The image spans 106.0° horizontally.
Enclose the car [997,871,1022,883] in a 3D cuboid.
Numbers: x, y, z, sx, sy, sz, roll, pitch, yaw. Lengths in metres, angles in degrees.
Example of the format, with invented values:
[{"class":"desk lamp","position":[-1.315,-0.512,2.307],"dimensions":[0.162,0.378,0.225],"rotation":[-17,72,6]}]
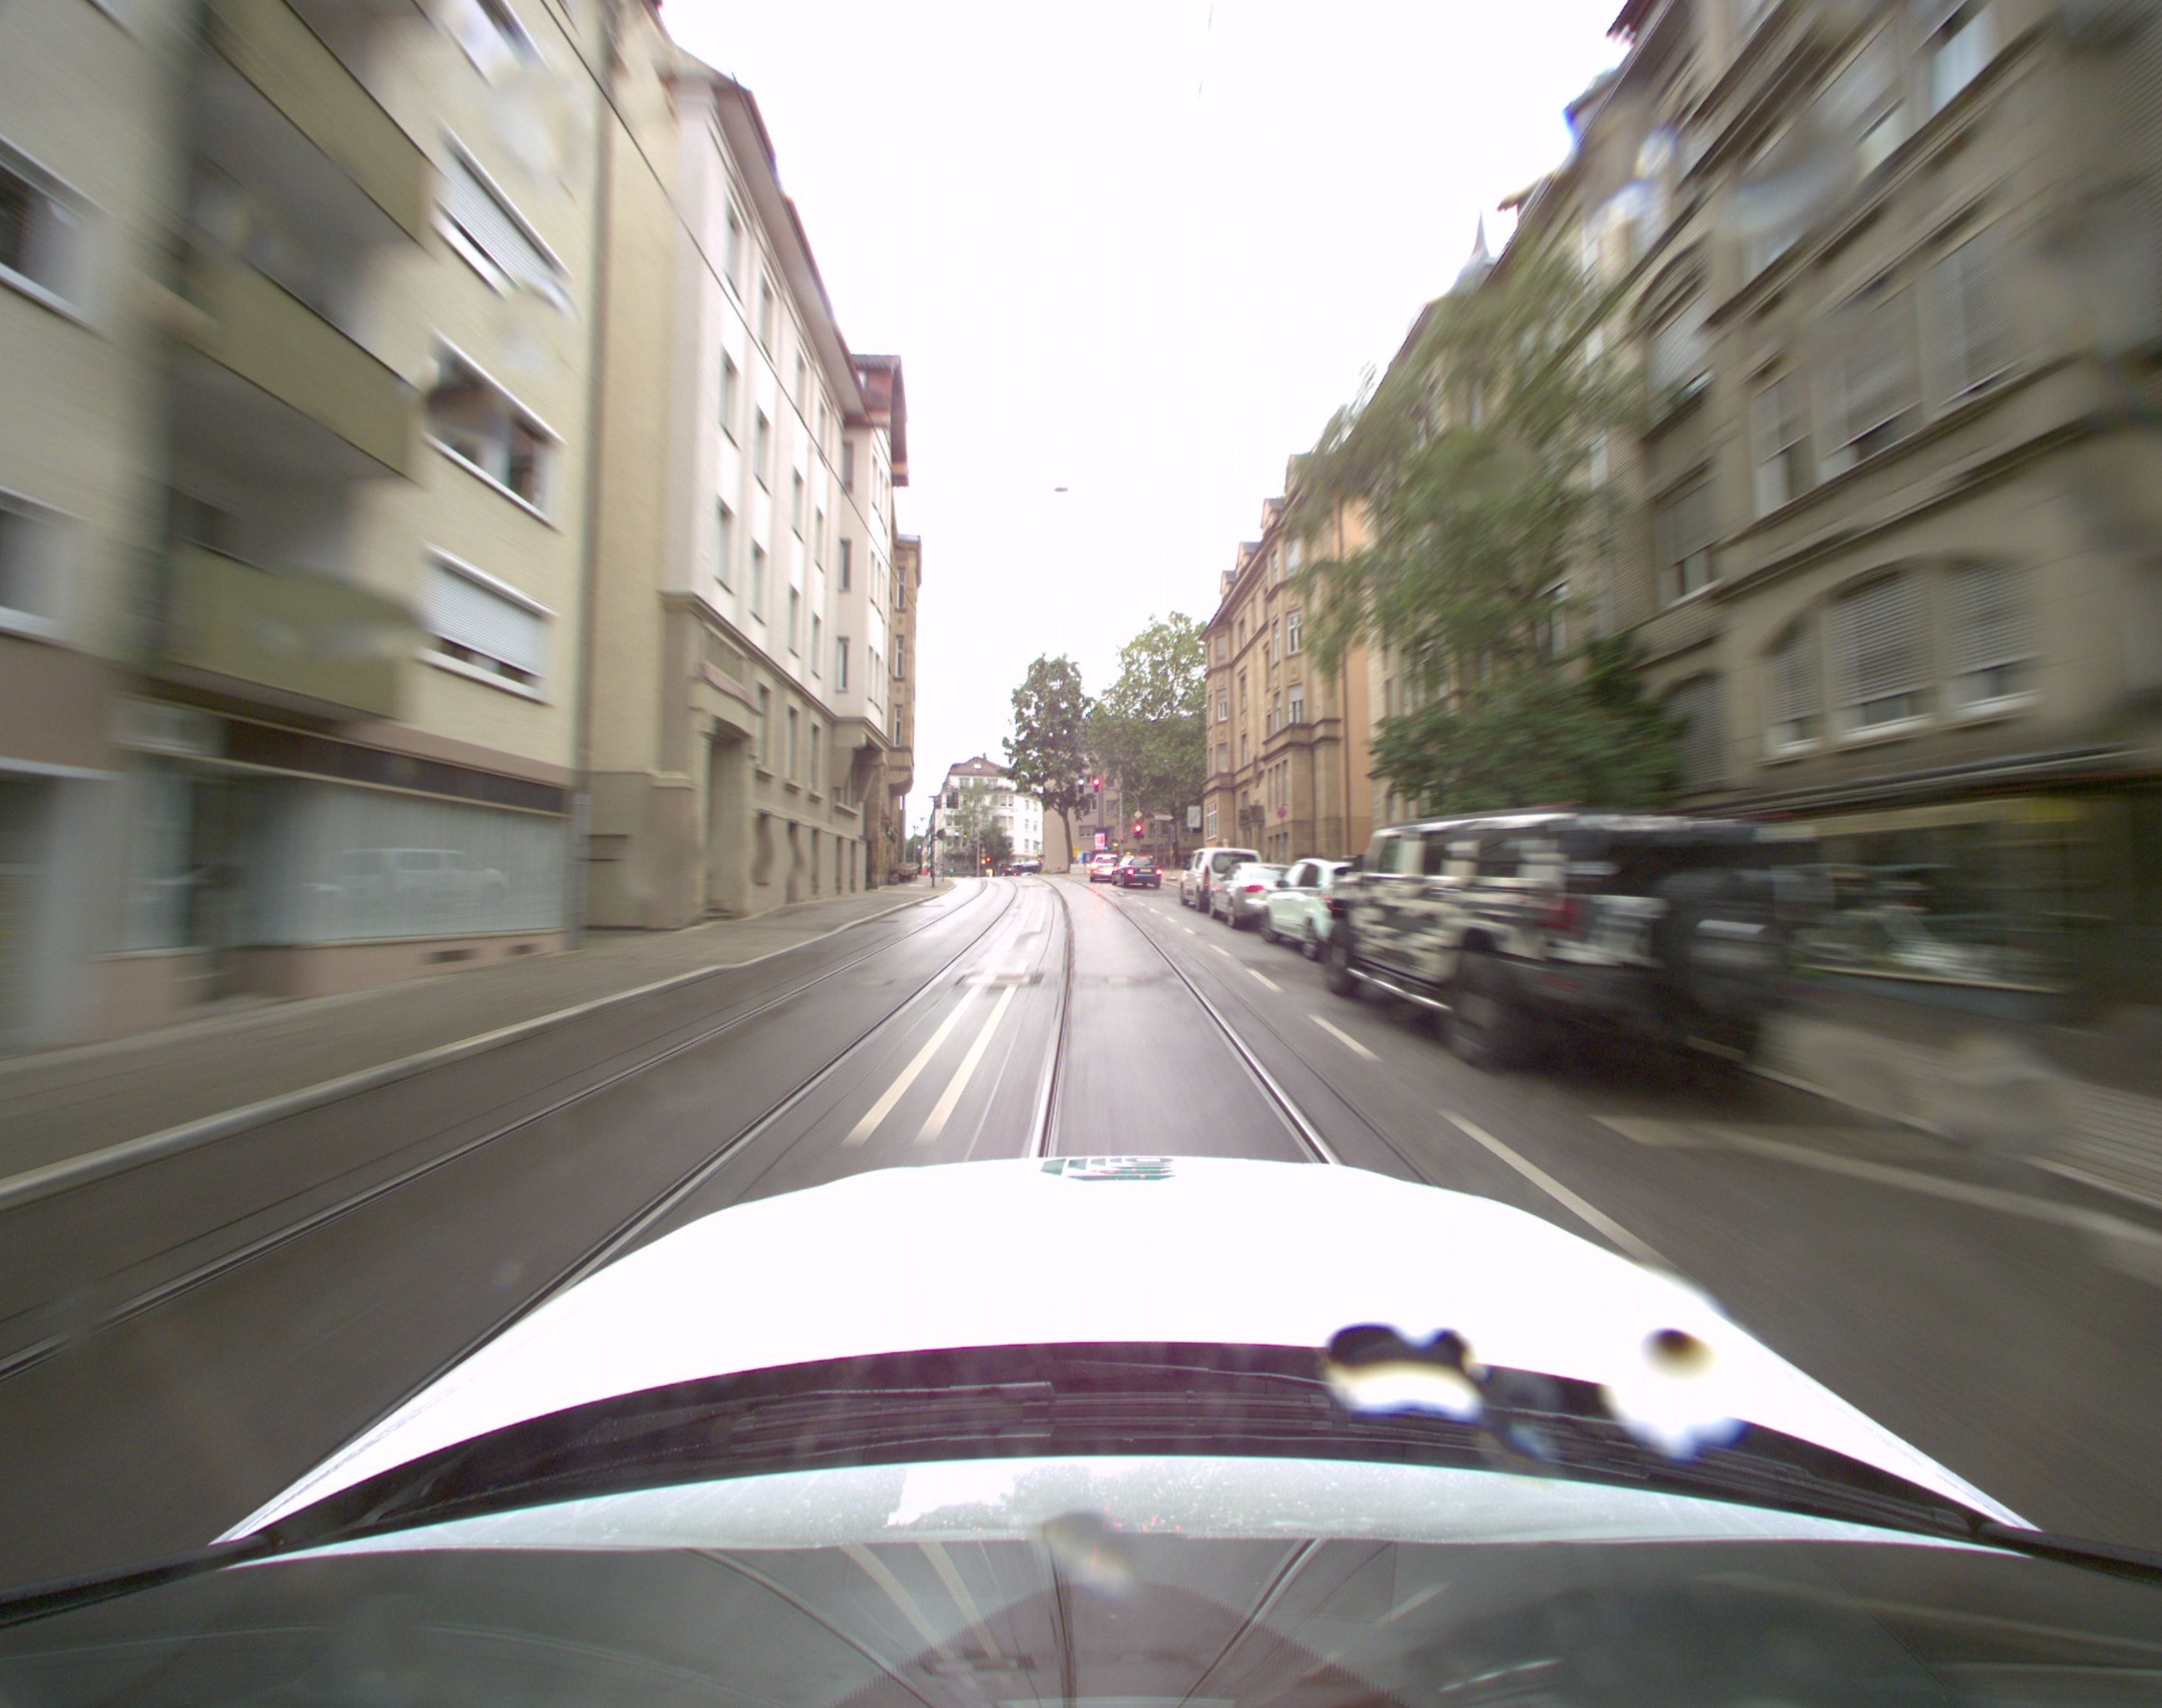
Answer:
[{"class":"car","position":[-10.183,3.314,116.783],"dimensions":[1.778,1.614,4.023],"rotation":[-1,0,25]}]

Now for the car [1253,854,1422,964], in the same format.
[{"class":"car","position":[4.101,0.795,13.607],"dimensions":[1.556,1.546,3.581],"rotation":[2,0,-2]}]

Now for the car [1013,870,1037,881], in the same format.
[{"class":"car","position":[-8.340,3.235,121.763],"dimensions":[1.778,1.510,4.023],"rotation":[-1,0,25]}]

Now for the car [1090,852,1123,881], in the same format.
[{"class":"car","position":[1.335,0.645,44.013],"dimensions":[1.705,1.456,3.552],"rotation":[1,0,0]}]

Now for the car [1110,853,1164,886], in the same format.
[{"class":"car","position":[2.564,0.706,38.134],"dimensions":[1.710,1.415,4.024],"rotation":[1,0,-9]}]

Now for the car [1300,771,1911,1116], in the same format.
[{"class":"car","position":[3.901,0.550,7.583],"dimensions":[2.123,2.013,5.347],"rotation":[2,0,-1]}]

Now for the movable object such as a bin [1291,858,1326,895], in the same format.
[{"class":"movable object such as a bin","position":[9.407,0.919,33.690],"dimensions":[0.969,1.432,1.277],"rotation":[4,-1,-4]}]

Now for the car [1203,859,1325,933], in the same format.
[{"class":"car","position":[4.041,0.869,18.725],"dimensions":[1.743,1.400,4.477],"rotation":[2,0,0]}]

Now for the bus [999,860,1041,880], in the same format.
[{"class":"bus","position":[-9.487,2.440,127.782],"dimensions":[2.829,2.861,8.780],"rotation":[-1,0,22]}]

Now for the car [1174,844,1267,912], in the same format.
[{"class":"car","position":[3.980,0.644,23.932],"dimensions":[1.793,1.765,4.459],"rotation":[2,0,-2]}]

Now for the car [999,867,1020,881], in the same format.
[{"class":"car","position":[-8.848,2.475,100.770],"dimensions":[1.785,1.510,4.007],"rotation":[-3,0,6]}]
